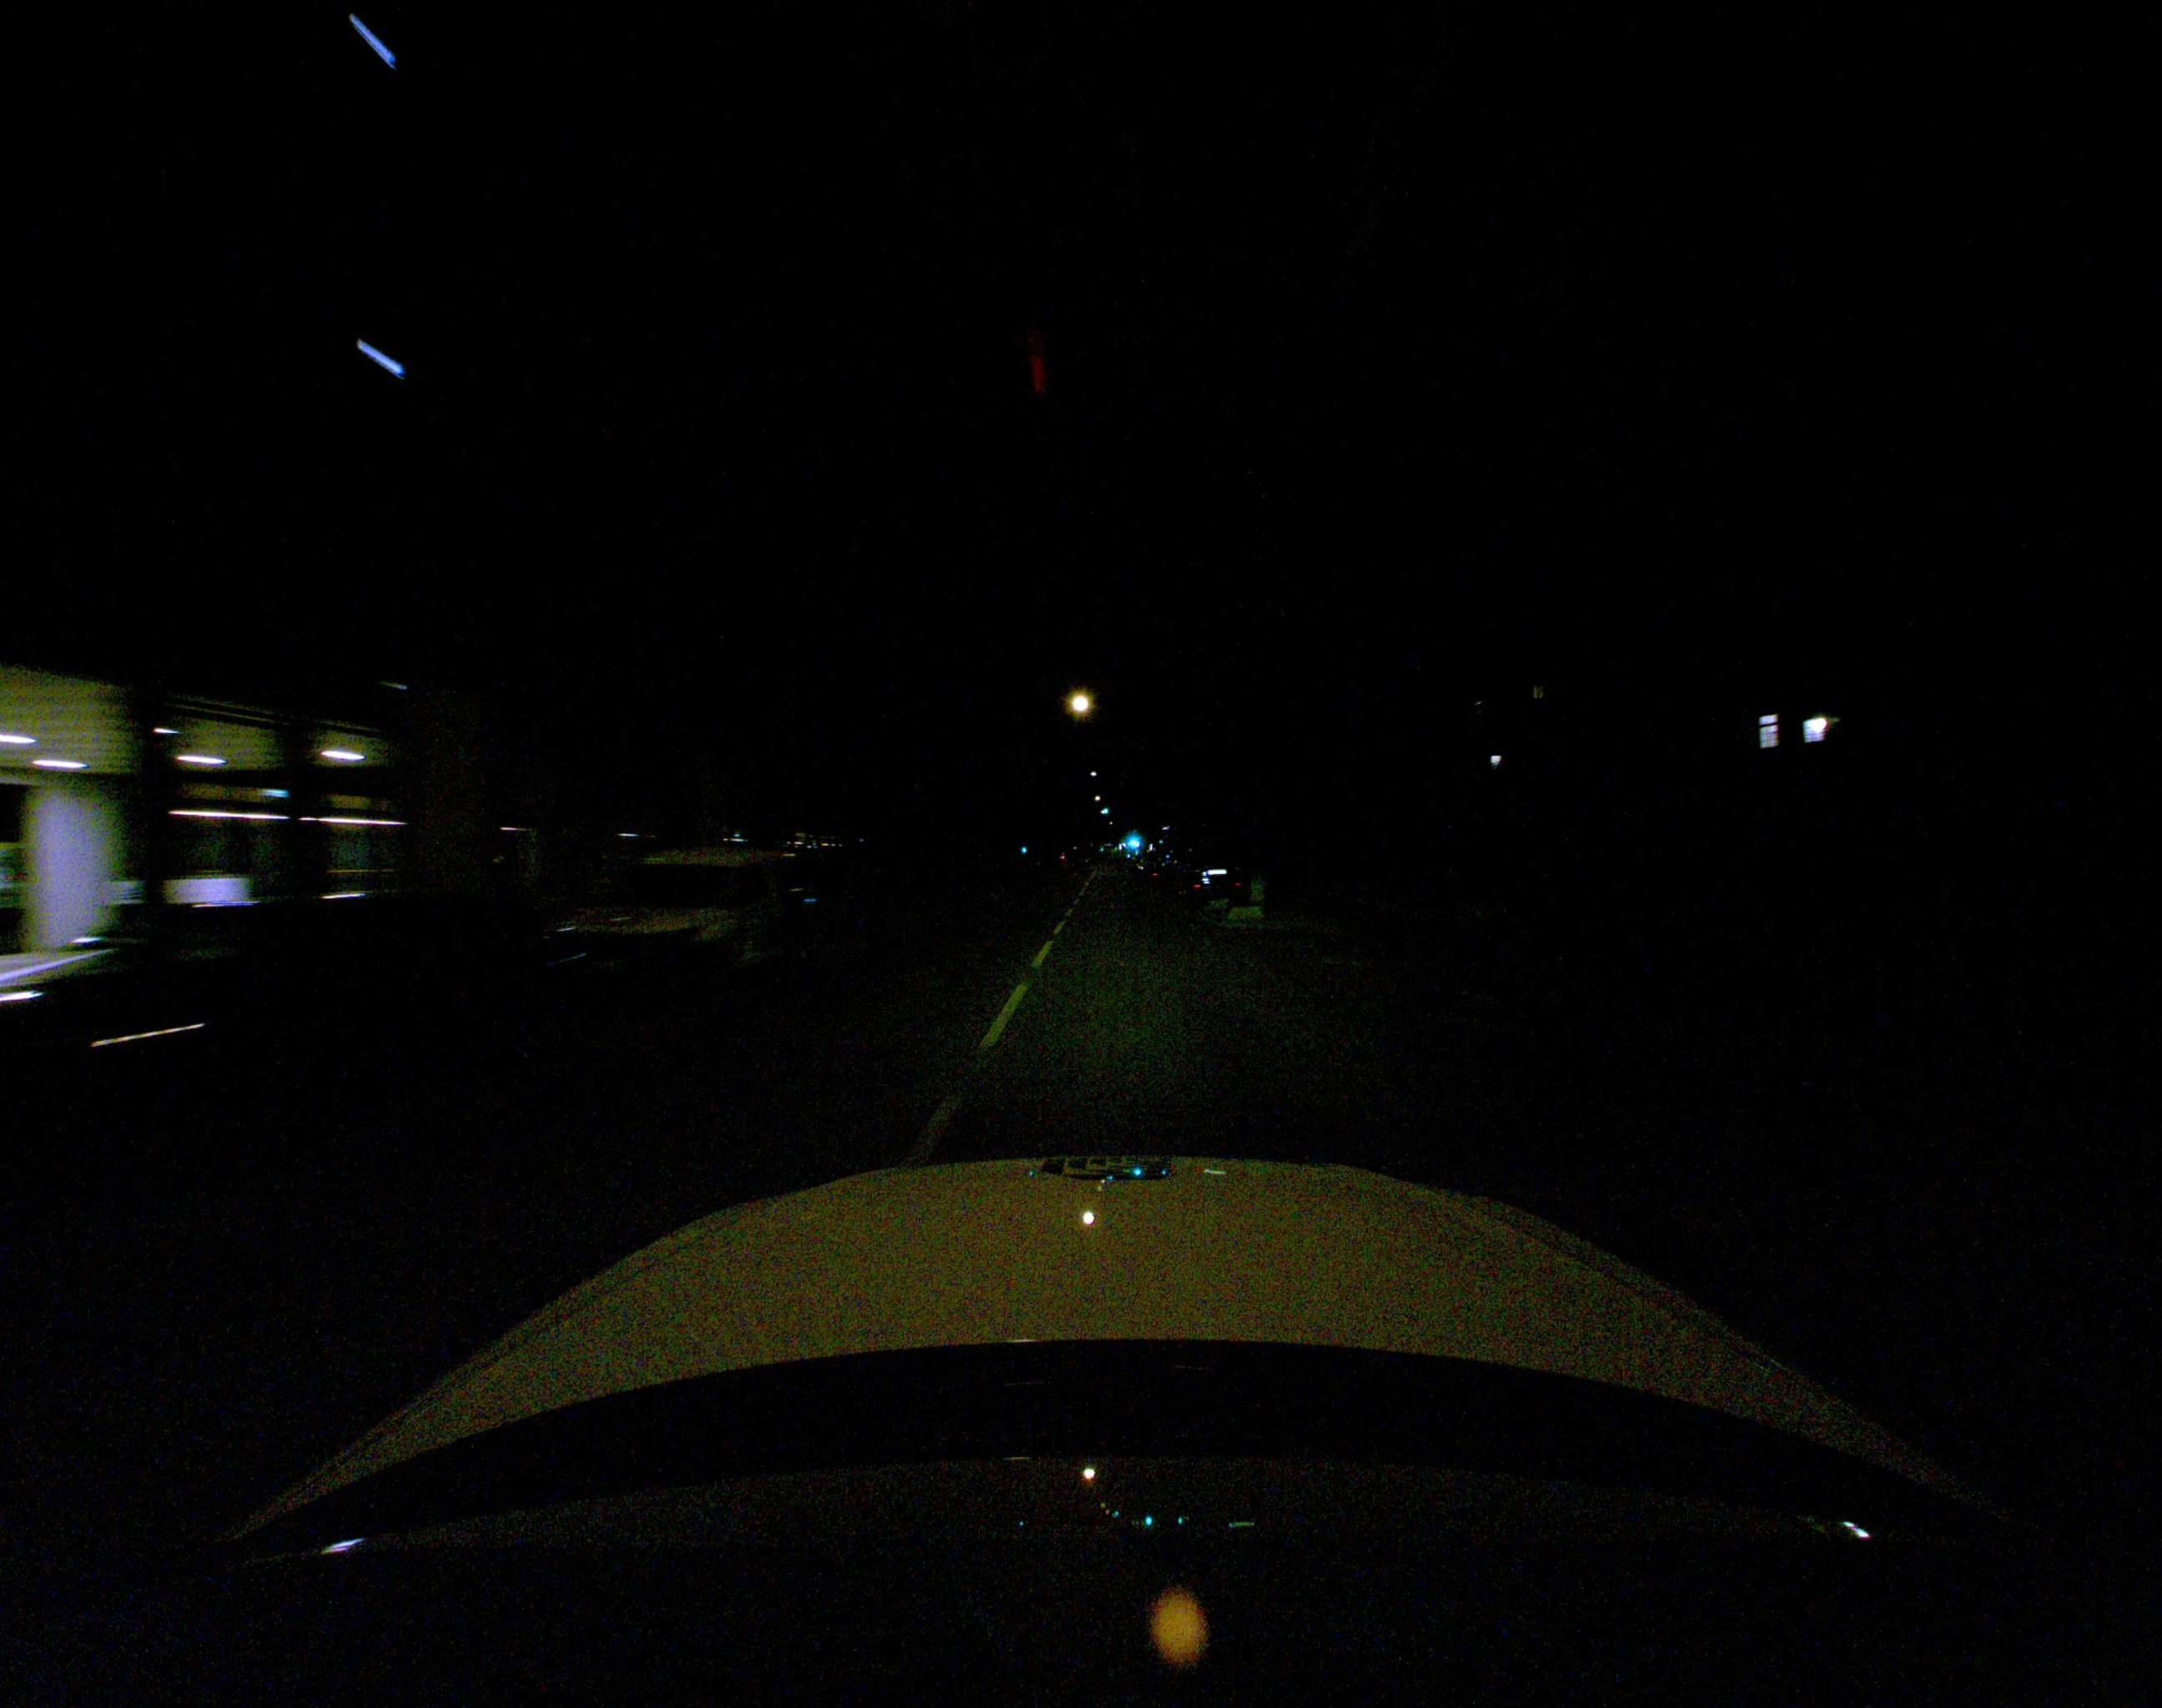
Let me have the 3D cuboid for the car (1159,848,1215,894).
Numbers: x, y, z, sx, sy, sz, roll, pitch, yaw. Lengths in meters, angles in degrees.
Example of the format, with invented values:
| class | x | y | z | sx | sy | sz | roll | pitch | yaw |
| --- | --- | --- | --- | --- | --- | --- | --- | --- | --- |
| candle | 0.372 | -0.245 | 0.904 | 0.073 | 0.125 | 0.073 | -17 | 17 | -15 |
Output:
| class | x | y | z | sx | sy | sz | roll | pitch | yaw |
| --- | --- | --- | --- | --- | --- | --- | --- | --- | --- |
| car | 4.038 | 0.613 | 31.586 | 1.845 | 1.604 | 4.212 | -1 | 0 | 3 |

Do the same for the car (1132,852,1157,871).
| class | x | y | z | sx | sy | sz | roll | pitch | yaw |
| --- | --- | --- | --- | --- | --- | --- | --- | --- | --- |
| car | 5.453 | 0.603 | 70.246 | 1.846 | 1.590 | 4.301 | -1 | 0 | 1 |

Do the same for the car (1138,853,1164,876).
| class | x | y | z | sx | sy | sz | roll | pitch | yaw |
| --- | --- | --- | --- | --- | --- | --- | --- | --- | --- |
| car | 4.614 | 0.684 | 54.094 | 1.514 | 1.396 | 3.987 | -2 | 0 | 3 |

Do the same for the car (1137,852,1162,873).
| class | x | y | z | sx | sy | sz | roll | pitch | yaw |
| --- | --- | --- | --- | --- | --- | --- | --- | --- | --- |
| car | 5.253 | 0.648 | 62.945 | 1.585 | 1.534 | 4.139 | -3 | 0 | 1 |

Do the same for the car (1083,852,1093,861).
| class | x | y | z | sx | sy | sz | roll | pitch | yaw |
| --- | --- | --- | --- | --- | --- | --- | --- | --- | --- |
| car | 1.306 | 0.484 | 148.845 | 1.734 | 1.415 | 3.754 | -1 | 1 | 2 |

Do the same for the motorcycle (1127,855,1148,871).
| class | x | y | z | sx | sy | sz | roll | pitch | yaw |
| --- | --- | --- | --- | --- | --- | --- | --- | --- | --- |
| motorcycle | 4.611 | 0.760 | 66.332 | 0.630 | 1.270 | 2.077 | -1 | 0 | 36 |

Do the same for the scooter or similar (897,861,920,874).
| class | x | y | z | sx | sy | sz | roll | pitch | yaw |
| --- | --- | --- | --- | --- | --- | --- | --- | --- | --- |
| scooter or similar | -13.900 | 1.068 | 65.734 | 1.667 | 1.008 | 0.545 | 1 | 0 | 3 |

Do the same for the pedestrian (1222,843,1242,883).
| class | x | y | z | sx | sy | sz | roll | pitch | yaw |
| --- | --- | --- | --- | --- | --- | --- | --- | --- | --- |
| pedestrian | 6.646 | 0.398 | 35.866 | 0.703 | 1.721 | 0.822 | -2 | 0 | 2 |

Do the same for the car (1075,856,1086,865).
| class | x | y | z | sx | sy | sz | roll | pitch | yaw |
| --- | --- | --- | --- | --- | --- | --- | --- | --- | --- |
| car | -0.088 | 1.031 | 133.891 | 1.734 | 1.416 | 3.754 | -1 | 0 | 2 |

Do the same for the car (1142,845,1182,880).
| class | x | y | z | sx | sy | sz | roll | pitch | yaw |
| --- | --- | --- | --- | --- | --- | --- | --- | --- | --- |
| car | 4.530 | 0.483 | 46.051 | 1.766 | 1.807 | 4.276 | -3 | 0 | -1 |

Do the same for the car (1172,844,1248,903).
| class | x | y | z | sx | sy | sz | roll | pitch | yaw |
| --- | --- | --- | --- | --- | --- | --- | --- | --- | --- |
| car | 4.010 | 0.572 | 25.943 | 1.846 | 1.654 | 4.211 | -3 | 0 | 2 |

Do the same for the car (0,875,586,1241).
| class | x | y | z | sx | sy | sz | roll | pitch | yaw |
| --- | --- | --- | --- | --- | --- | --- | --- | --- | --- |
| car | -5.371 | 0.930 | 5.436 | 1.694 | 1.433 | 3.829 | 1 | 0 | 1 |

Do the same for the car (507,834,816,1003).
| class | x | y | z | sx | sy | sz | roll | pitch | yaw |
| --- | --- | --- | --- | --- | --- | --- | --- | --- | --- |
| car | -5.310 | 0.701 | 11.078 | 1.815 | 1.811 | 4.213 | 1 | 0 | 3 |

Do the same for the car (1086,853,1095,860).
| class | x | y | z | sx | sy | sz | roll | pitch | yaw |
| --- | --- | --- | --- | --- | --- | --- | --- | --- | --- |
| car | 2.124 | 0.505 | 177.184 | 1.734 | 1.416 | 3.754 | -1 | 0 | 2 |
